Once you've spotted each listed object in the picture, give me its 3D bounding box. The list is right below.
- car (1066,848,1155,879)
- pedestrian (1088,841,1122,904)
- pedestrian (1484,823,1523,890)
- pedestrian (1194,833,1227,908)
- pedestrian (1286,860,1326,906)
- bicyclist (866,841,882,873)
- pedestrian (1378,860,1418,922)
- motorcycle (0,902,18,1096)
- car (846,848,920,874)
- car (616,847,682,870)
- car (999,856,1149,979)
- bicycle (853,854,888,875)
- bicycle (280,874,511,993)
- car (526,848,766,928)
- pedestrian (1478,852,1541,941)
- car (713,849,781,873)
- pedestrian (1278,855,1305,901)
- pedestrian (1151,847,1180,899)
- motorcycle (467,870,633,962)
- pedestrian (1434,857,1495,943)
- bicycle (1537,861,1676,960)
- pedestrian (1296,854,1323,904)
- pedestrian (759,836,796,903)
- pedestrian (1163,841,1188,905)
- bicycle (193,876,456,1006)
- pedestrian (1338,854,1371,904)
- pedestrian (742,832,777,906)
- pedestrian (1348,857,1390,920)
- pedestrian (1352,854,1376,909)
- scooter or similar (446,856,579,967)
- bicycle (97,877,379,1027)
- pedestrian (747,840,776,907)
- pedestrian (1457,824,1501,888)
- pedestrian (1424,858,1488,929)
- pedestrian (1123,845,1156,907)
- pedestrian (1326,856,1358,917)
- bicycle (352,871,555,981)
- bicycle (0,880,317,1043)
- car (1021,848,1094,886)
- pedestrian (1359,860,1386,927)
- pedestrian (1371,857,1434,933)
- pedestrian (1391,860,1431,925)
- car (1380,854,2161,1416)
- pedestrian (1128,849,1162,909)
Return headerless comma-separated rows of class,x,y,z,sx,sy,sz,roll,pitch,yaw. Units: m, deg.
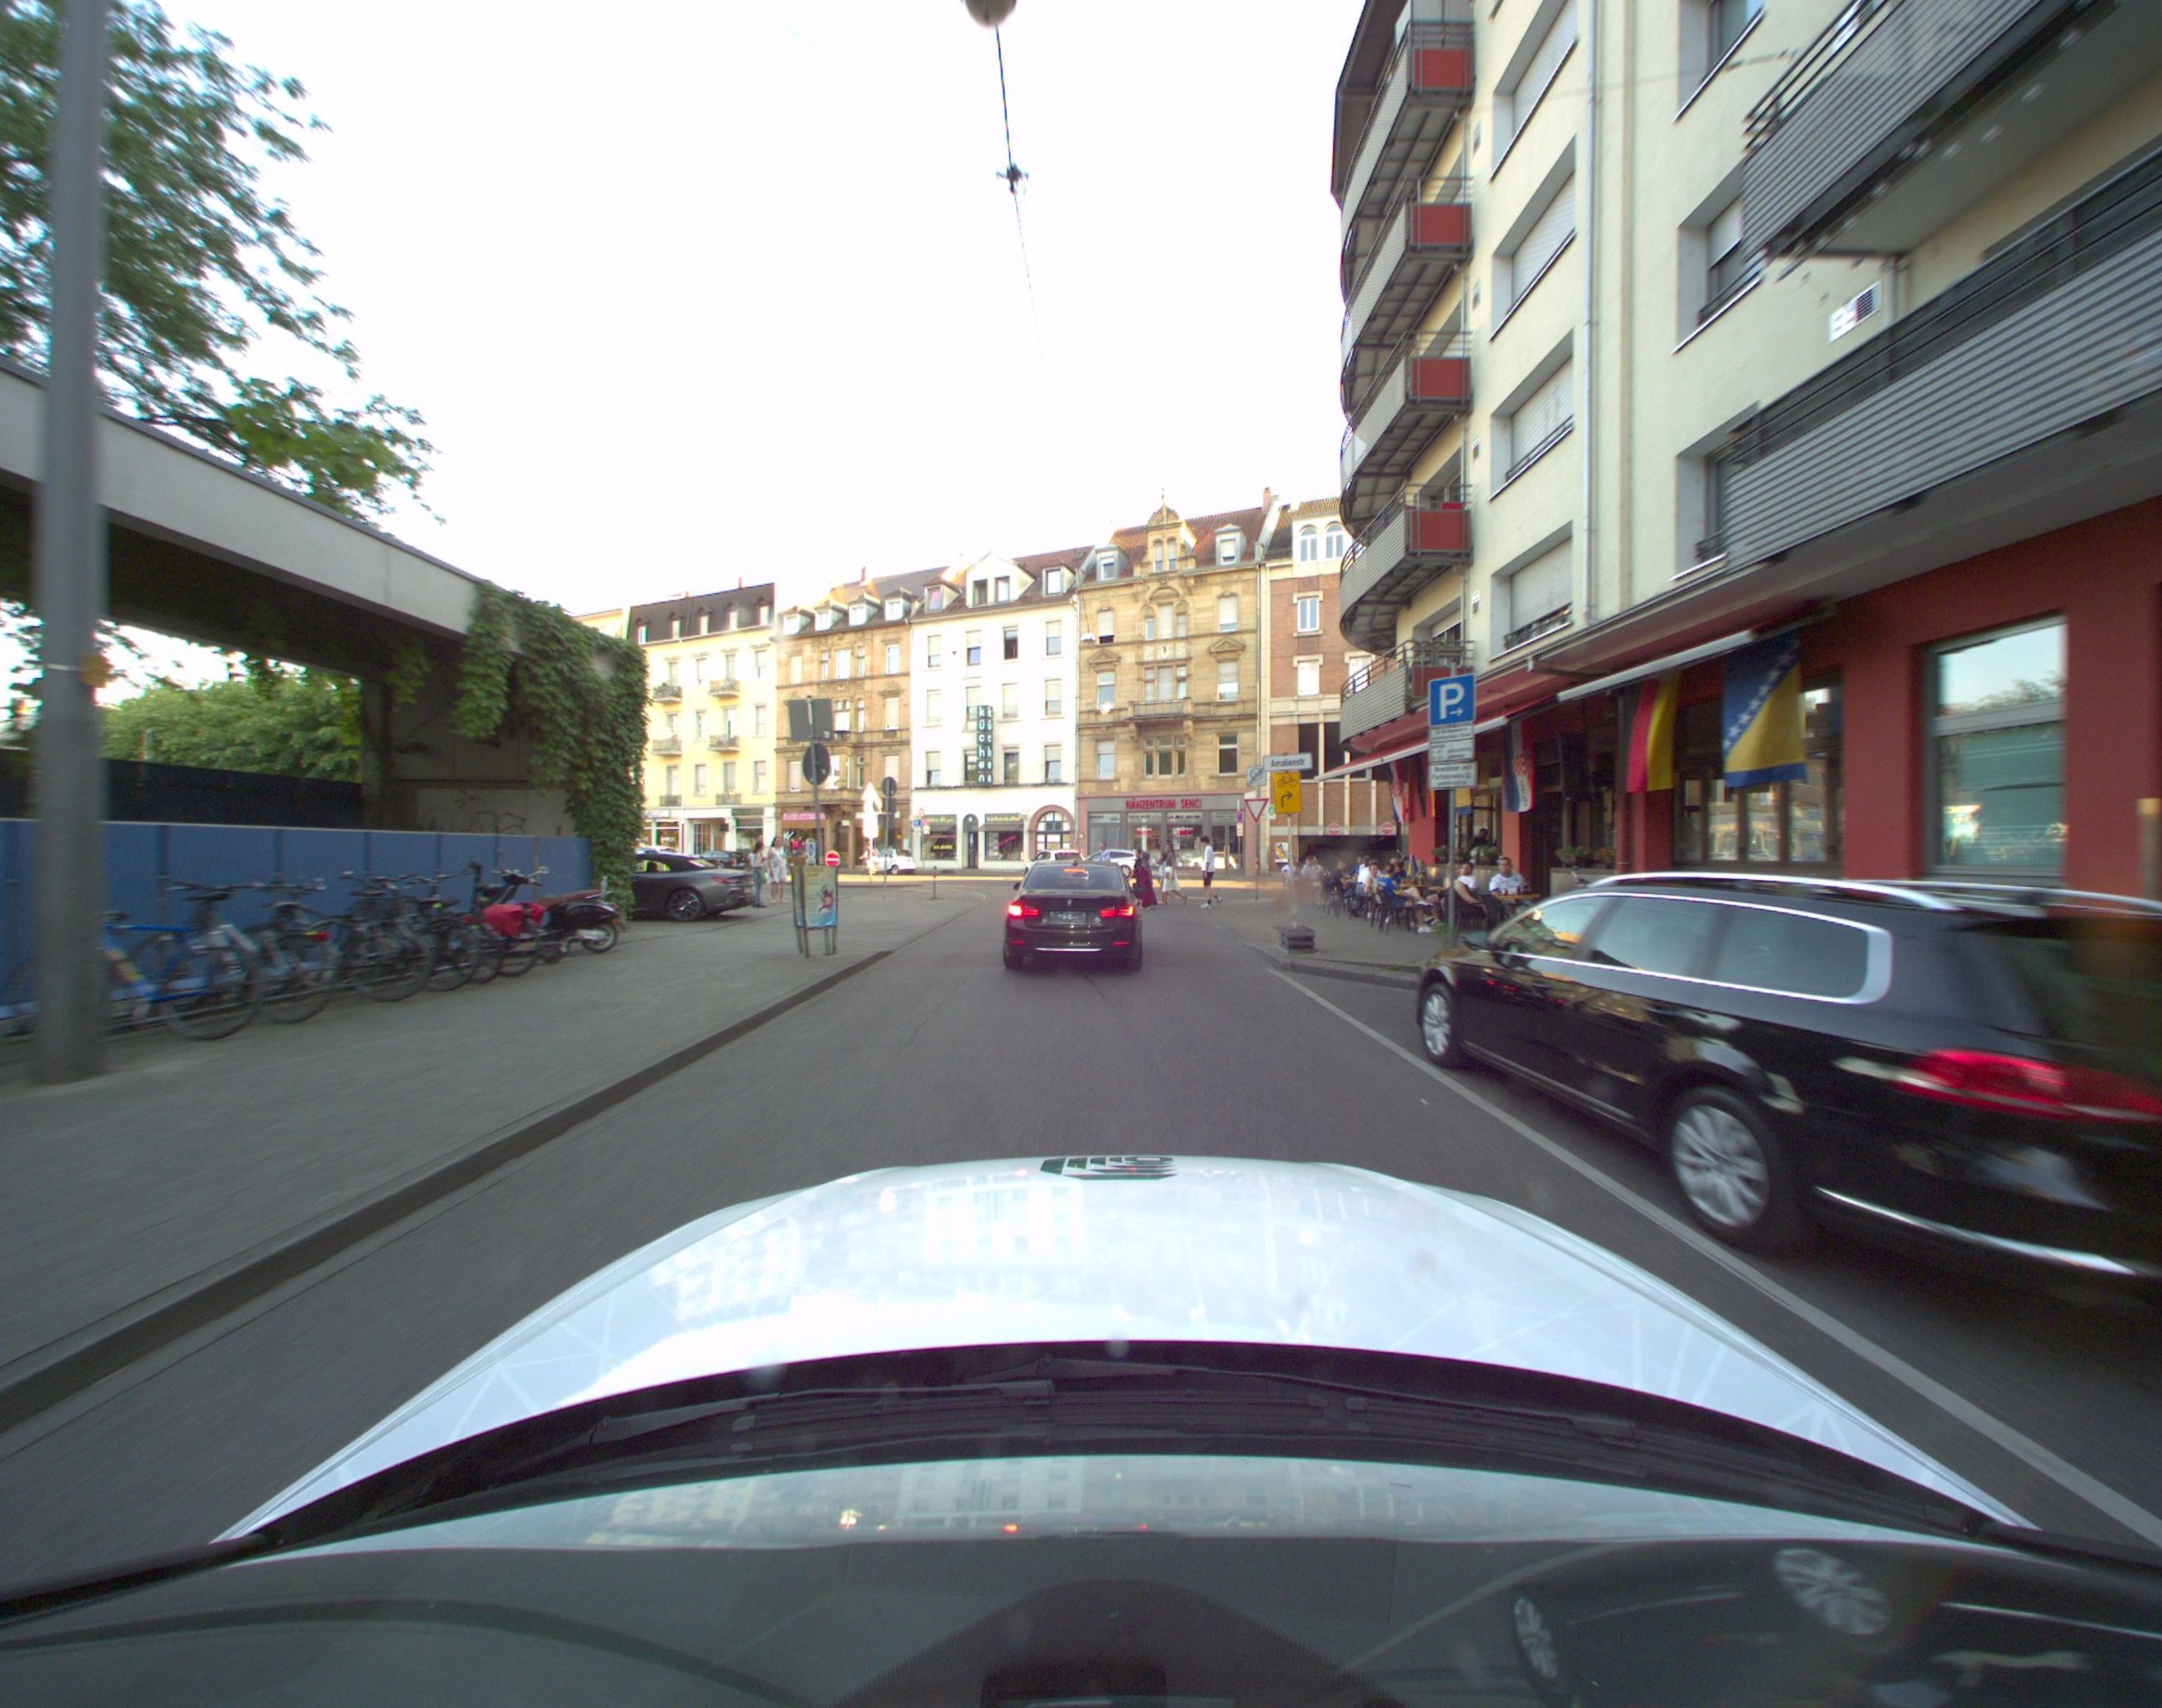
car,1.552,0.487,42.872,4.313,1.562,1.879,-1,-1,22
pedestrian,0.689,0.509,22.963,0.891,1.725,0.609,1,2,6
pedestrian,10.234,0.063,19.734,0.533,1.607,0.605,1,0,-21
pedestrian,3.318,0.416,20.811,0.692,1.877,0.682,1,0,22
pedestrian,5.723,0.732,20.728,0.885,1.149,0.620,-1,0,7
bicyclist,-11.333,0.173,44.615,0.613,1.756,0.527,1,0,12
pedestrian,6.375,0.732,16.404,0.421,1.201,0.562,-3,0,-41
motorcycle,-6.976,0.798,4.627,1.784,1.064,0.769,1,0,25
car,-11.842,0.452,48.687,3.952,1.510,1.810,-1,-1,22
car,-29.560,0.329,55.730,3.952,1.510,1.810,-1,-1,22
car,-0.045,0.763,12.031,1.759,1.375,4.791,1,1,1
bicycle,-11.533,0.568,44.662,1.782,1.107,0.540,1,0,12
bicycle,-6.784,0.777,8.109,1.790,1.107,0.499,1,0,-3
car,-8.960,0.655,17.114,3.985,1.501,1.886,-1,0,-8
pedestrian,6.745,0.657,12.843,0.605,1.348,0.696,-1,0,-1
car,-21.751,0.490,53.041,3.952,1.510,1.810,-1,-1,22
pedestrian,5.870,0.656,22.737,0.614,1.254,0.737,-1,0,6
pedestrian,2.418,0.545,23.353,0.812,1.474,0.607,-1,0,4
motorcycle,-6.907,0.782,10.661,1.758,1.101,0.561,1,0,-34
pedestrian,5.877,0.692,12.498,0.683,1.286,0.610,-1,-1,9
bicycle,6.738,0.698,10.552,0.534,1.154,1.740,-1,-2,-4
pedestrian,6.021,0.644,21.482,0.613,1.284,0.661,-1,0,8
pedestrian,-8.056,0.400,21.632,0.665,1.746,0.661,0,0,40
pedestrian,2.636,0.525,22.765,0.664,1.746,0.608,-1,0,6
bicycle,-6.826,0.777,7.405,1.791,1.107,0.499,1,0,-5
pedestrian,7.127,0.638,21.211,0.611,1.279,0.705,0,0,37
pedestrian,-8.244,0.376,20.897,0.580,1.882,0.634,-1,0,6
pedestrian,6.077,0.720,17.187,0.631,1.276,0.505,-3,0,-37
pedestrian,6.740,0.647,19.424,0.486,1.276,0.523,-1,0,13
scooter or similar,-6.788,0.678,9.766,1.207,1.274,0.420,1,0,-16
bicycle,-6.851,0.777,6.656,1.787,1.107,0.500,1,0,2
pedestrian,-7.936,0.486,20.246,0.498,1.643,0.521,-1,0,2
pedestrian,10.123,0.055,20.718,0.717,1.607,0.682,1,0,-26
pedestrian,6.849,0.706,14.903,0.776,1.223,0.714,-3,0,0
pedestrian,1.557,0.576,21.795,0.724,1.609,0.648,1,0,-9
pedestrian,5.721,0.712,17.869,0.489,1.303,0.418,-3,0,0
bicycle,-6.807,0.767,8.877,1.788,1.107,0.500,1,0,-1
bicycle,-6.851,0.776,6.061,1.789,1.107,0.500,1,0,-1
car,-1.049,0.496,34.488,1.884,1.473,3.972,-1,0,-21
pedestrian,5.591,0.751,15.613,0.340,1.257,0.362,-3,0,33
pedestrian,5.660,0.711,14.375,0.856,1.257,0.491,-3,0,0
pedestrian,6.368,0.737,15.697,0.421,1.201,0.531,-3,0,-43
car,3.465,0.811,4.668,1.759,1.502,4.791,2,1,1
pedestrian,1.651,0.642,21.134,0.735,1.513,0.648,1,0,-9
